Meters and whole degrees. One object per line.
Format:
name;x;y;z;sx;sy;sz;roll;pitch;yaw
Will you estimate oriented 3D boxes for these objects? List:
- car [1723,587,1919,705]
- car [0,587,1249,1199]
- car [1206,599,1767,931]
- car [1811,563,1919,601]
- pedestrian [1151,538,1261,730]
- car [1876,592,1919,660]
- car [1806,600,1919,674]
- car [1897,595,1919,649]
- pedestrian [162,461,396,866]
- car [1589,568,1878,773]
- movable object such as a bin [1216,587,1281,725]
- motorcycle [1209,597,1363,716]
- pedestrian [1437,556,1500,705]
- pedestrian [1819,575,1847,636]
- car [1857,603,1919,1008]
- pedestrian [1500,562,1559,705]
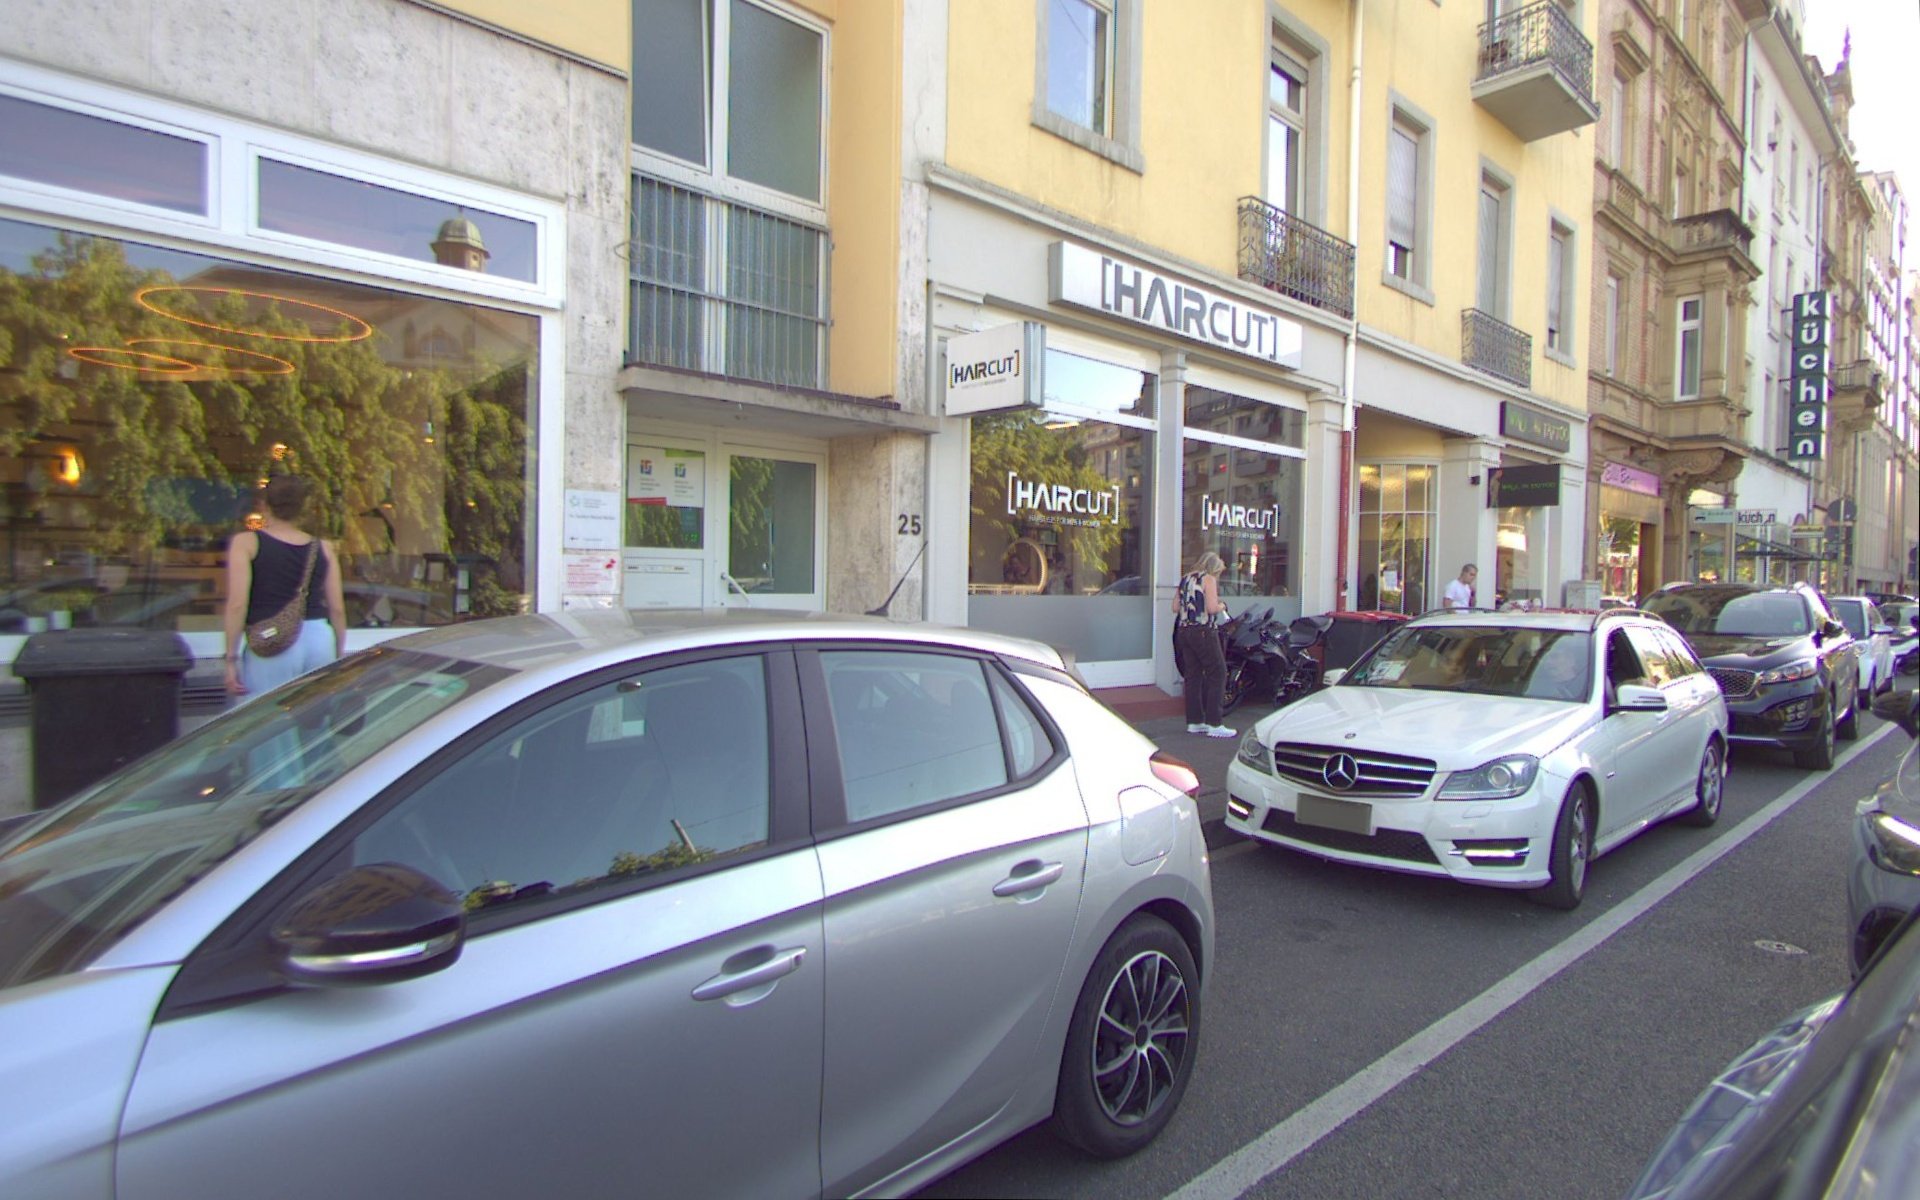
car;13.121;0.580;15.322;4.016;1.546;1.800;-1;0;-42
car;-1.006;0.697;2.294;3.597;1.445;1.549;-1;1;-42
car;3.547;0.708;6.416;4.302;1.376;1.703;-1;1;-41
car;39.057;-0.745;43.203;3.974;1.571;1.834;0;0;35
pedestrian;2.257;0.279;9.312;0.595;1.674;0.719;0;3;-40
car;22.238;0.551;23.049;4.016;1.450;1.657;-1;0;-42
car;18.250;0.661;20.015;4.016;1.282;1.800;-1;1;-42
car;26.656;0.571;27.240;3.773;1.357;1.800;-1;1;-42
pedestrian;-3.108;0.257;4.650;0.640;1.686;0.654;1;0;24
car;8.017;0.548;10.337;4.176;1.659;1.799;-1;1;-45
movable object such as a bin;2.720;0.513;9.544;0.387;1.253;0.391;0;3;-41
motorcycle;3.427;0.543;10.550;1.920;1.091;0.567;-1;4;-41
pedestrian;7.012;0.414;13.954;0.679;2.008;0.375;1;1;-18
pedestrian;26.897;0.167;31.180;0.653;1.874;0.574;0;0;-40
car;5.269;0.705;4.251;3.931;1.376;1.800;-1;1;-42
pedestrian;7.672;0.435;13.662;0.567;1.874;0.661;0;0;19
